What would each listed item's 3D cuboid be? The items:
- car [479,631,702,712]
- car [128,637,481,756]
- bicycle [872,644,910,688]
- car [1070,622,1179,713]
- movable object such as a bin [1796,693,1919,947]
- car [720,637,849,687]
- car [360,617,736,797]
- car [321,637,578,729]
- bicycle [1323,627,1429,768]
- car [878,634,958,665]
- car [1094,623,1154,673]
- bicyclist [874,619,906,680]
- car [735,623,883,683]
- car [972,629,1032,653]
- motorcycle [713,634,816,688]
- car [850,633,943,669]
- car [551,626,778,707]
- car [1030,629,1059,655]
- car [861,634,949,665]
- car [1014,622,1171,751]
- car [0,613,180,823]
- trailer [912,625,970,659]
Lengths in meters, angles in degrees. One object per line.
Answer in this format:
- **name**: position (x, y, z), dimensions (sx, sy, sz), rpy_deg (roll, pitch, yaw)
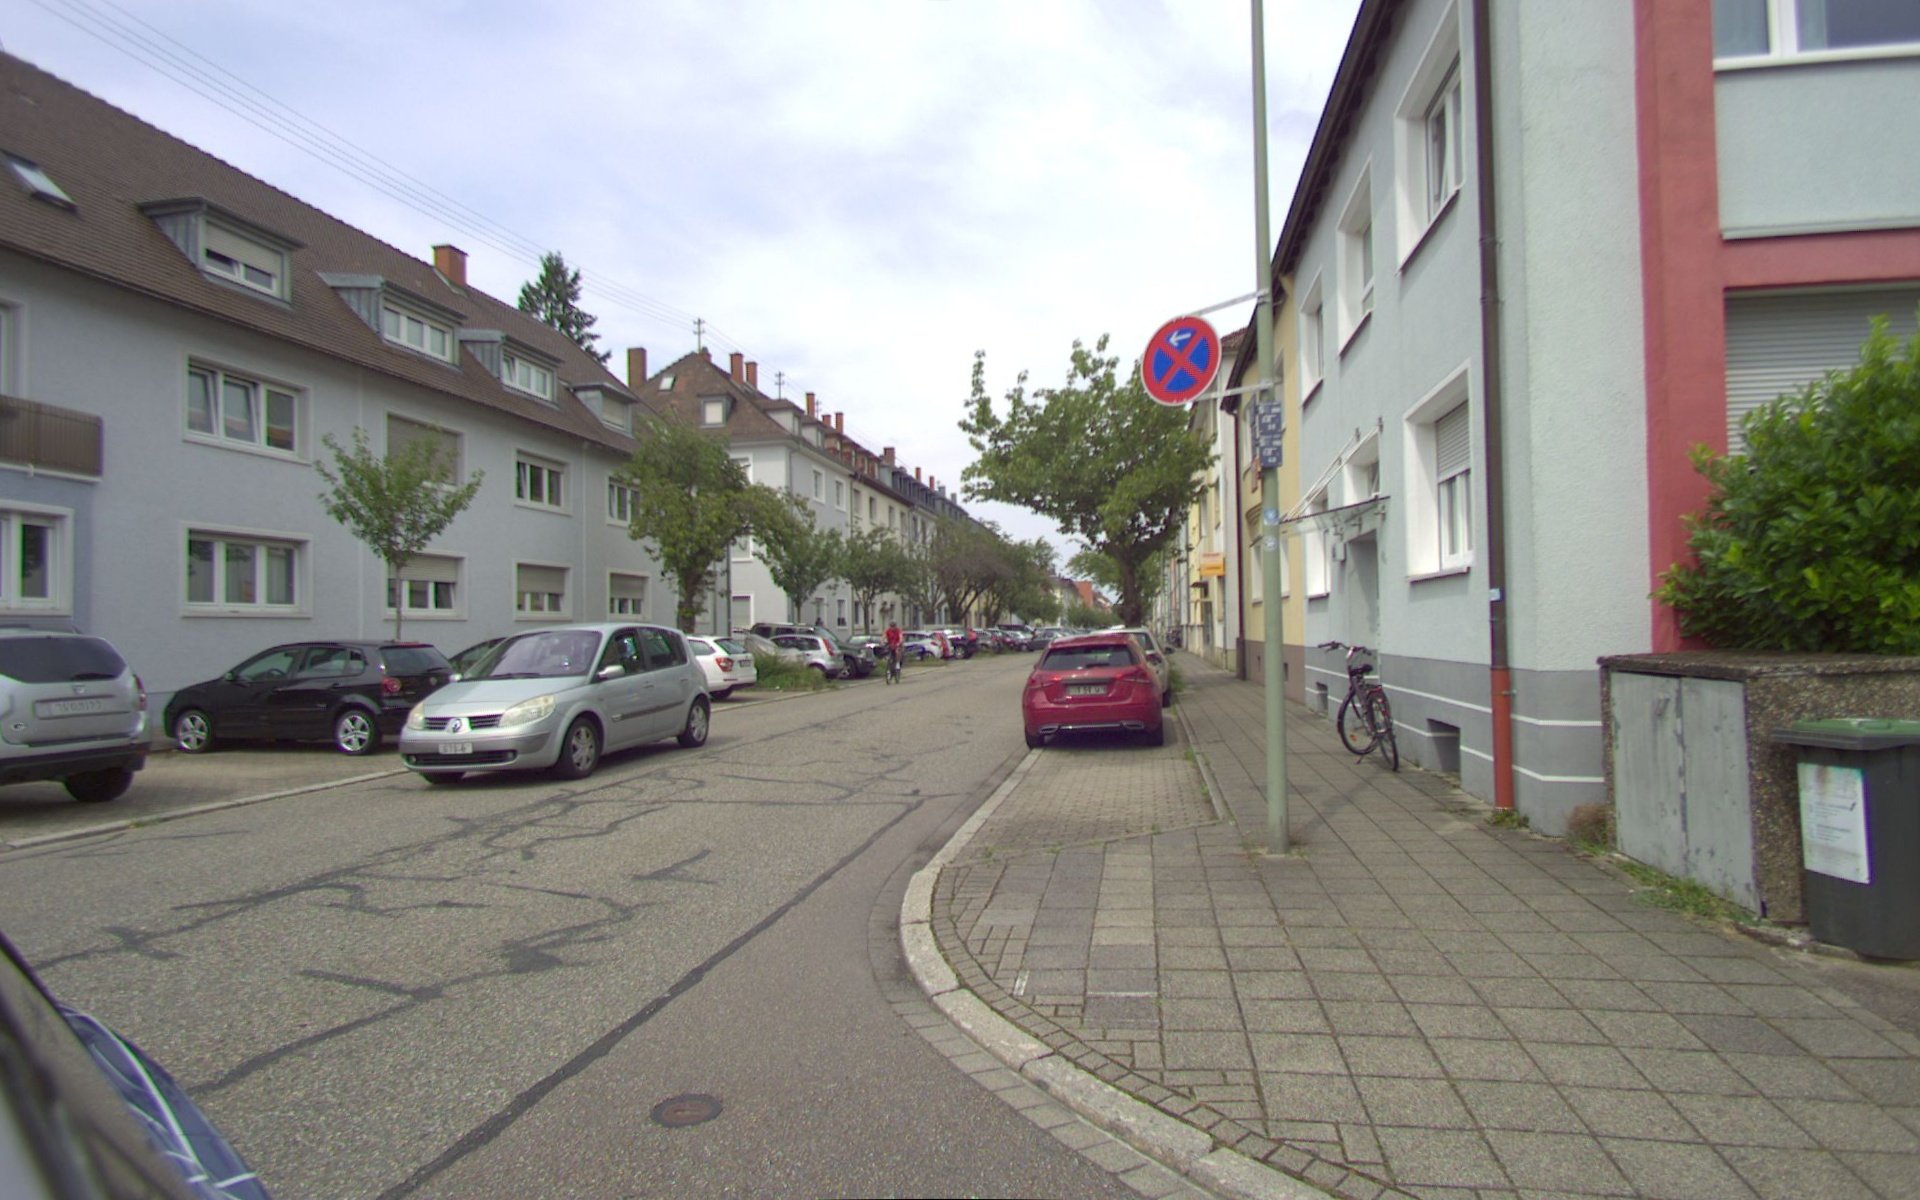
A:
- **car**: position (-7.491, 1.412, 20.643), dimensions (3.957, 1.519, 1.706), rpy_deg (0, -2, 11)
- **car**: position (-8.856, 1.241, 13.801), dimensions (3.957, 1.432, 1.706), rpy_deg (0, -2, 11)
- **bicycle**: position (-2.047, 1.954, 30.299), dimensions (0.686, 1.237, 1.930), rpy_deg (-3, -2, 10)
- **car**: position (3.297, 1.266, 20.018), dimensions (1.759, 1.402, 4.260), rpy_deg (-8, -3, 11)
- **movable object such as a bin**: position (3.753, 0.843, 4.007), dimensions (0.481, 0.914, 0.475), rpy_deg (0, -2, 4)
- **car**: position (-5.374, 1.885, 31.230), dimensions (3.593, 1.465, 1.769), rpy_deg (0, -2, 7)
- **car**: position (-4.348, 1.066, 11.681), dimensions (1.770, 1.616, 4.821), rpy_deg (-2, -2, 10)
- **car**: position (-9.210, 1.452, 18.379), dimensions (3.957, 1.519, 1.706), rpy_deg (0, -2, 11)
- **bicycle**: position (3.847, 0.850, 9.479), dimensions (0.487, 1.161, 1.867), rpy_deg (2, -1, 10)
- **car**: position (-2.082, 2.487, 51.145), dimensions (3.721, 1.452, 1.858), rpy_deg (0, -2, 12)
- **car**: position (5.739, 1.624, 35.127), dimensions (1.904, 1.593, 4.367), rpy_deg (0, -2, 11)
- **bicyclist**: position (-2.077, 1.469, 30.271), dimensions (0.687, 1.783, 0.983), rpy_deg (-3, -2, 10)
- **car**: position (-4.950, 1.719, 33.397), dimensions (4.495, 1.872, 1.785), rpy_deg (0, -2, 14)
- **car**: position (3.721, 3.583, 89.735), dimensions (5.183, 2.038, 2.069), rpy_deg (0, -2, 7)
- **motorcycle**: position (-5.533, 1.724, 28.766), dimensions (2.677, 1.475, 1.029), rpy_deg (-2, -2, 7)
- **car**: position (-2.877, 2.306, 46.354), dimensions (3.953, 1.542, 1.764), rpy_deg (0, -2, 8)
- **car**: position (-6.619, 1.439, 22.835), dimensions (4.581, 1.676, 1.885), rpy_deg (0, -2, 12)
- **car**: position (6.829, 3.324, 81.206), dimensions (1.977, 1.929, 4.691), rpy_deg (-3, -2, 8)
- **car**: position (-2.624, 2.366, 48.738), dimensions (3.953, 1.421, 1.764), rpy_deg (0, -2, 8)
- **car**: position (1.956, 1.080, 14.261), dimensions (1.862, 1.497, 4.497), rpy_deg (0, -2, 10)
- **car**: position (-9.368, 0.956, 8.831), dimensions (3.893, 1.645, 1.862), rpy_deg (0, -4, 10)
- **trailer**: position (-1.043, 2.322, 55.975), dimensions (2.942, 1.845, 1.394), rpy_deg (0, -2, 15)
